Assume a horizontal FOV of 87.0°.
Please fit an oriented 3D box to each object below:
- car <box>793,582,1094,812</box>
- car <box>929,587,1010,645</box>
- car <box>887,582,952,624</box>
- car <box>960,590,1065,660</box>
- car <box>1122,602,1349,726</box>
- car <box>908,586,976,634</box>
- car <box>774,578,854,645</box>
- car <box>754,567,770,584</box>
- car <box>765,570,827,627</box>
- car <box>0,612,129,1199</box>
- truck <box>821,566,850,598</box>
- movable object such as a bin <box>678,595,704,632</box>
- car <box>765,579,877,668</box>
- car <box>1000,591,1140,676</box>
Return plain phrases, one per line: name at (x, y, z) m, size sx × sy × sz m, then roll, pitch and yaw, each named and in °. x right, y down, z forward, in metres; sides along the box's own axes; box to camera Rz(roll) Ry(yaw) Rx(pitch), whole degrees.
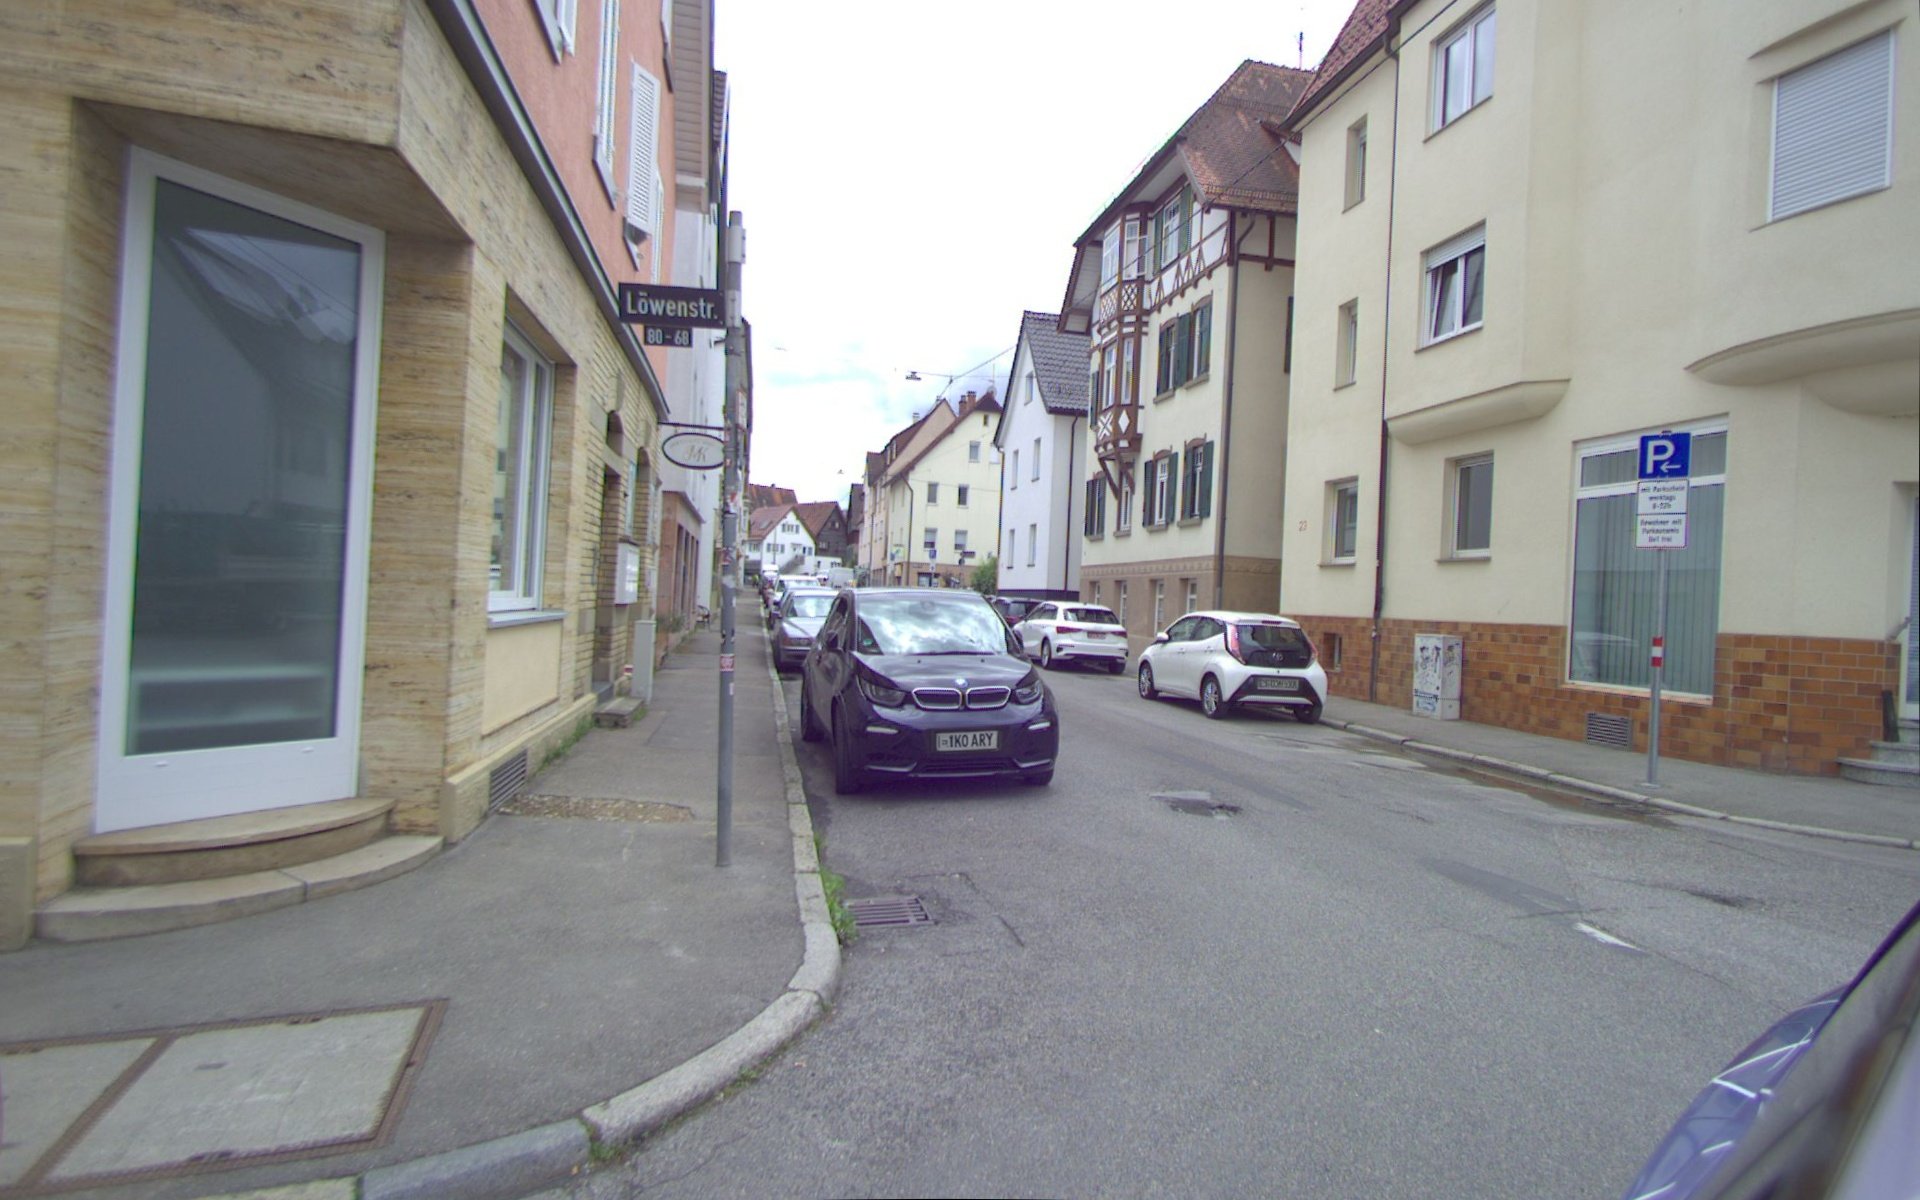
car at (-0.406, 0.643, 9.097) m, size 1.785 × 1.562 × 4.036 m, roll 1°, pitch 1°, yaw -14°
car at (0.231, 0.456, 32.296) m, size 1.721 × 1.528 × 4.093 m, roll 5°, pitch 1°, yaw -10°
car at (-1.771, 0.081, 42.490) m, size 1.720 × 1.449 × 4.360 m, roll 5°, pitch 1°, yaw -14°
car at (1.315, 0.604, 27.192) m, size 1.721 × 1.473 × 4.379 m, roll 5°, pitch 1°, yaw -10°
car at (3.917, 0.851, 15.104) m, size 1.637 × 1.451 × 3.823 m, roll 4°, pitch 0°, yaw -11°
car at (-0.729, 0.330, 37.592) m, size 1.721 × 1.467 × 4.076 m, roll 5°, pitch 1°, yaw -11°
car at (-3.744, 0.226, 25.449) m, size 1.720 × 1.450 × 3.937 m, roll 1°, pitch 2°, yaw -11°
car at (-20.813, -2.596, 106.416) m, size 1.574 × 1.747 × 3.559 m, roll 0°, pitch 2°, yaw -11°
car at (-5.665, -0.105, 34.650) m, size 1.862 × 1.726 × 4.504 m, roll 2°, pitch 2°, yaw -11°
car at (-3.248, 0.766, 0.859) m, size 3.549 × 1.498 × 1.677 m, roll 1°, pitch 0°, yaw -19°
truck at (-10.211, -1.505, 82.991) m, size 1.747 × 2.421 × 5.498 m, roll 3°, pitch 1°, yaw -12°
movable object such as a bin at (-7.359, 0.361, 27.682) m, size 0.559 × 0.941 × 0.522 m, roll 5°, pitch -1°, yaw -11°
car at (-2.780, 0.347, 19.417) m, size 1.755 × 1.434 × 4.588 m, roll 0°, pitch 2°, yaw -12°
car at (2.313, 0.665, 22.535) m, size 1.721 × 1.450 × 4.379 m, roll 5°, pitch 1°, yaw -11°
